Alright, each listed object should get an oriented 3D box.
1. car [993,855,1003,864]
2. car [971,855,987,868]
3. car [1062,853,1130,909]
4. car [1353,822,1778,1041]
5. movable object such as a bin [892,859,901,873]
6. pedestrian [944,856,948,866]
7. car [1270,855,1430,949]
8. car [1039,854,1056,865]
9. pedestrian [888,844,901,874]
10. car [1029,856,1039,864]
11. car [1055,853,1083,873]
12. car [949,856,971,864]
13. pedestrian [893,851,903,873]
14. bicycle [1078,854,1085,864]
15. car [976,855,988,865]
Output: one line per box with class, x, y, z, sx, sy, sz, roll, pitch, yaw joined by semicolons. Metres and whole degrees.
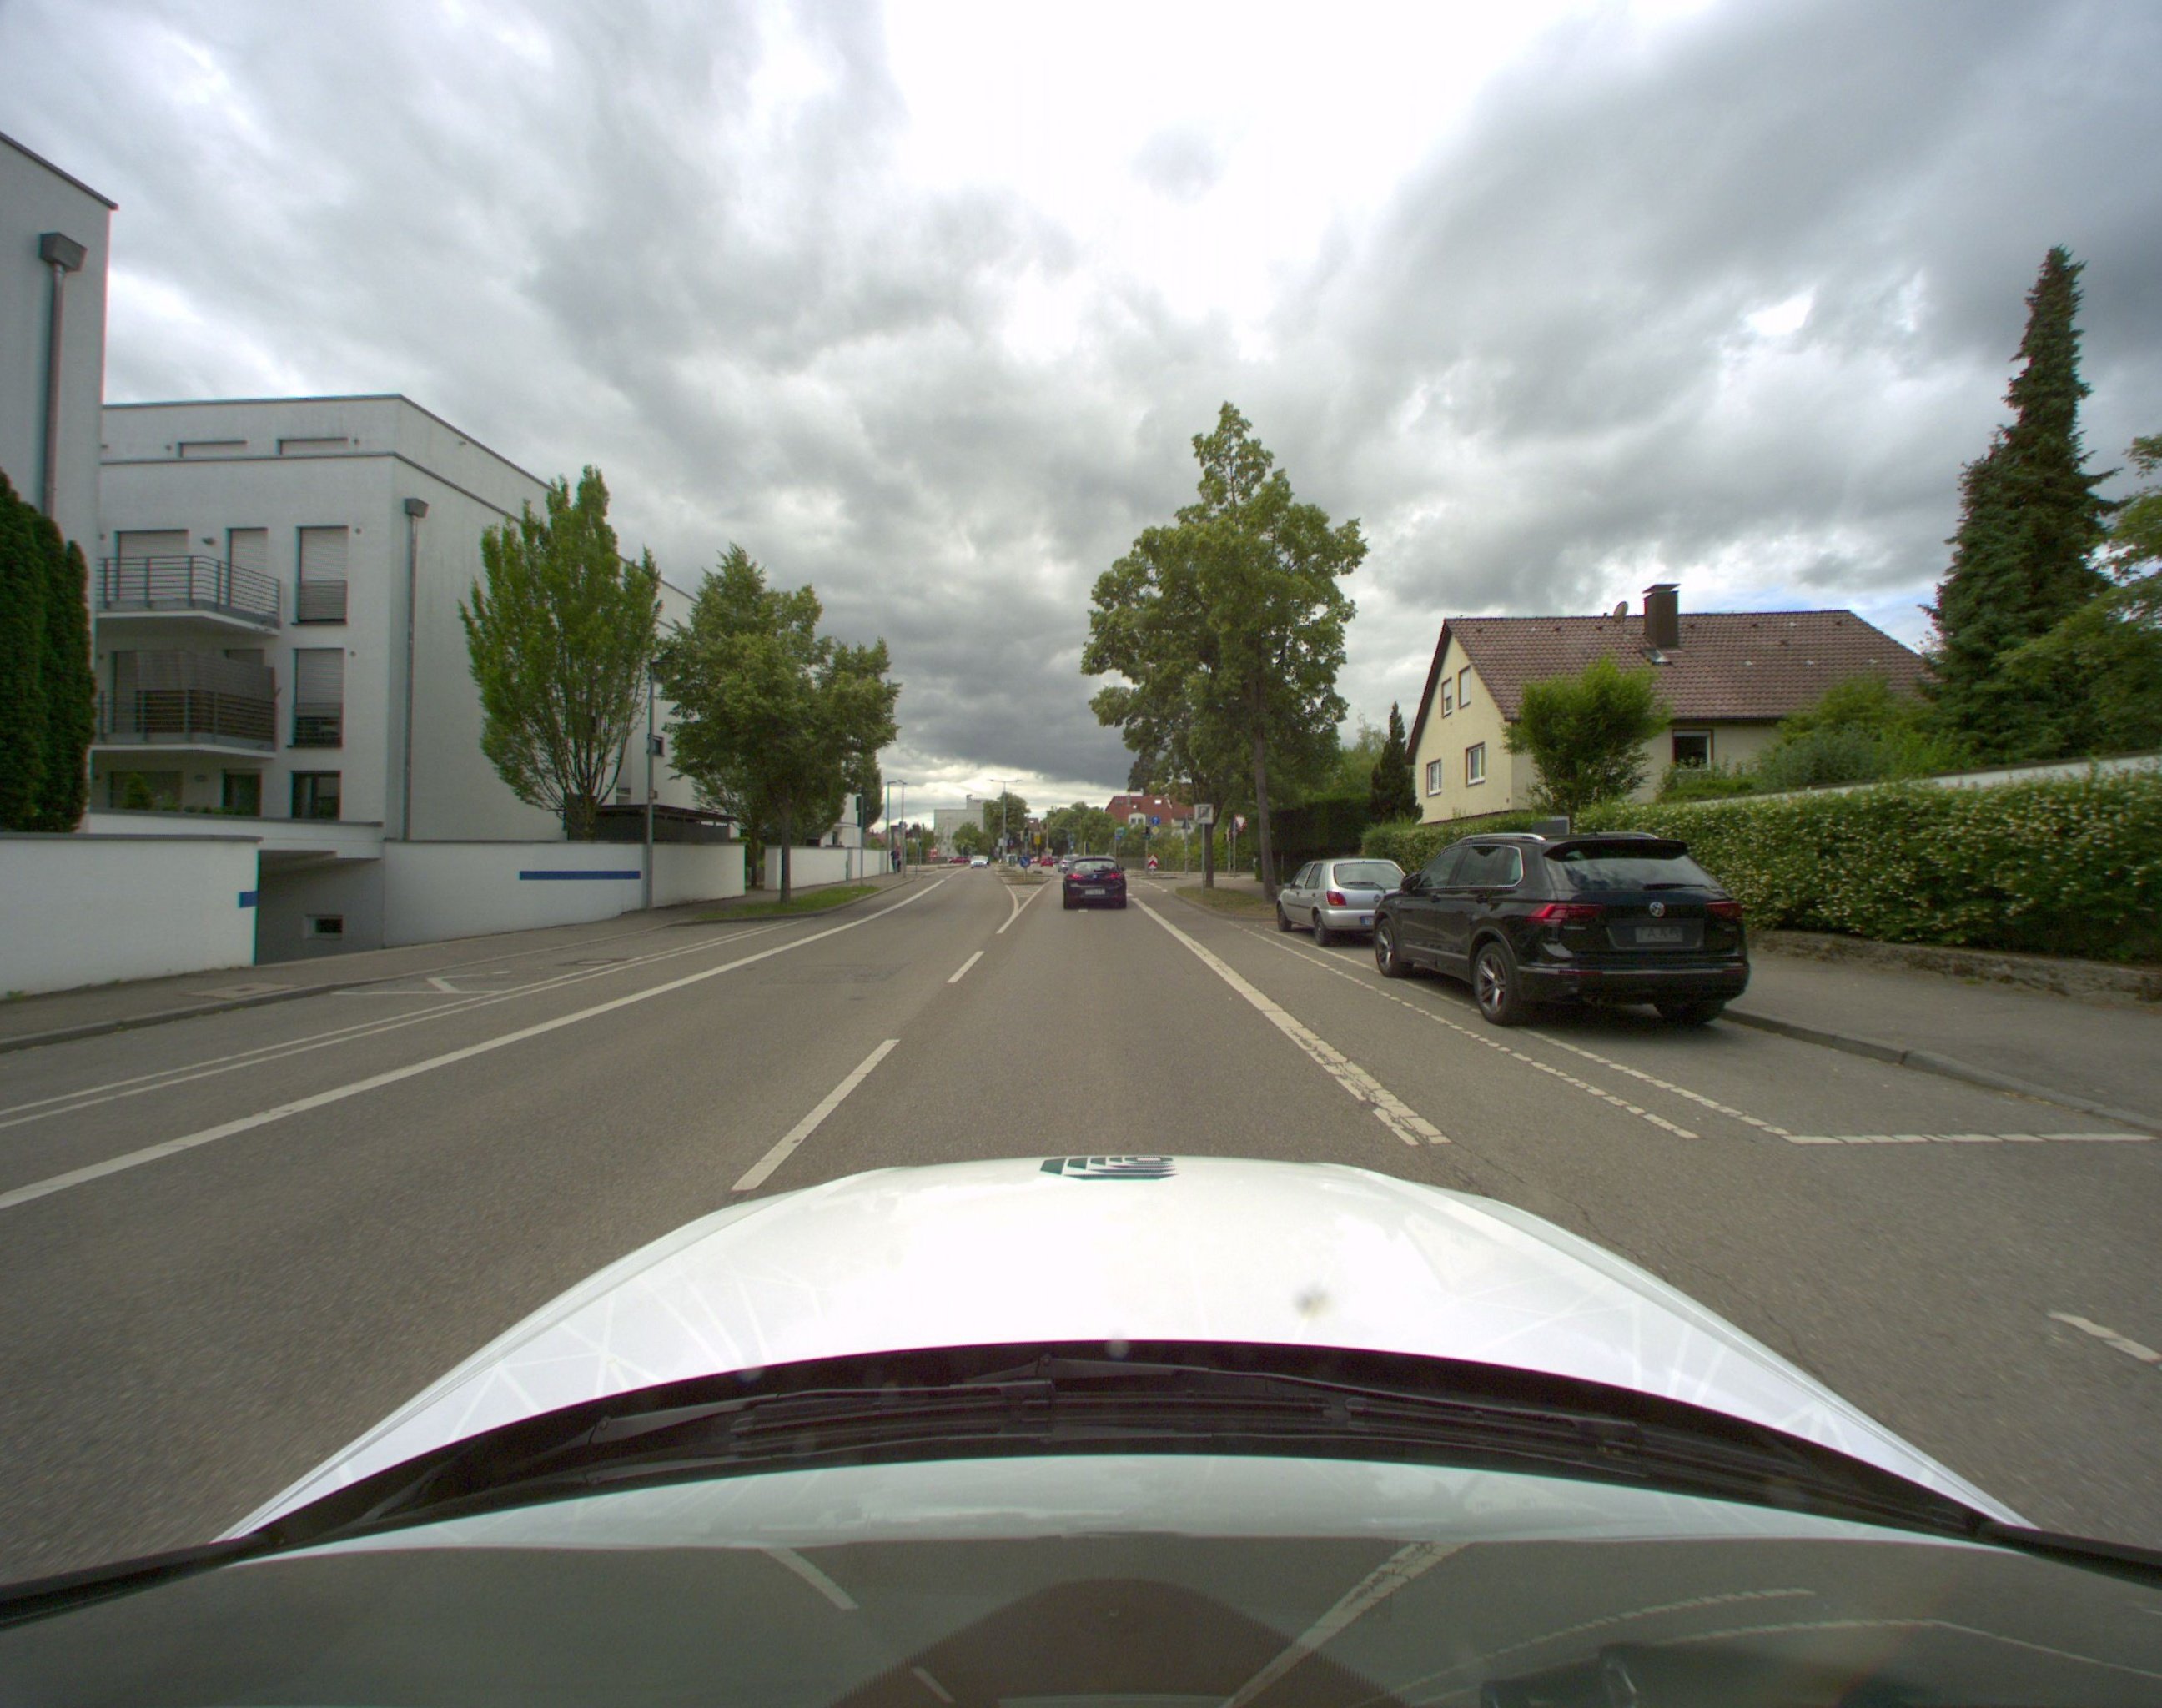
car;-14.242;0.951;139.053;1.641;1.409;3.809;1;-1;-7
car;-11.580;0.813;92.404;1.797;1.444;3.939;0;0;-7
car;0.345;0.700;23.169;1.755;1.449;3.711;-1;0;-2
car;4.409;0.586;8.410;1.759;1.636;4.549;0;0;1
movable object such as a bin;-13.649;0.871;60.351;0.496;0.960;0.984;4;-1;-7
pedestrian;-22.350;1.080;134.736;0.656;1.633;1.066;2;-1;-11
car;4.451;0.721;13.984;1.553;1.351;3.539;-2;0;0
car;-4.580;0.778;110.494;1.940;1.481;4.242;0;0;-7
pedestrian;-12.188;0.346;53.248;0.647;1.948;0.870;3;-1;-5
car;-9.339;1.176;162.040;1.719;1.448;4.056;1;-1;-7
car;-1.044;0.742;69.585;1.818;1.699;4.241;0;0;-8
car;-22.520;1.088;151.433;3.992;1.552;1.741;0;-1;-14
pedestrian;-13.747;0.594;61.159;0.531;1.543;0.730;5;-1;-8
bicycle;0.073;0.695;115.037;0.888;1.510;2.783;0;0;0
car;-13.989;0.821;115.229;1.719;1.391;3.908;2;-1;-7
